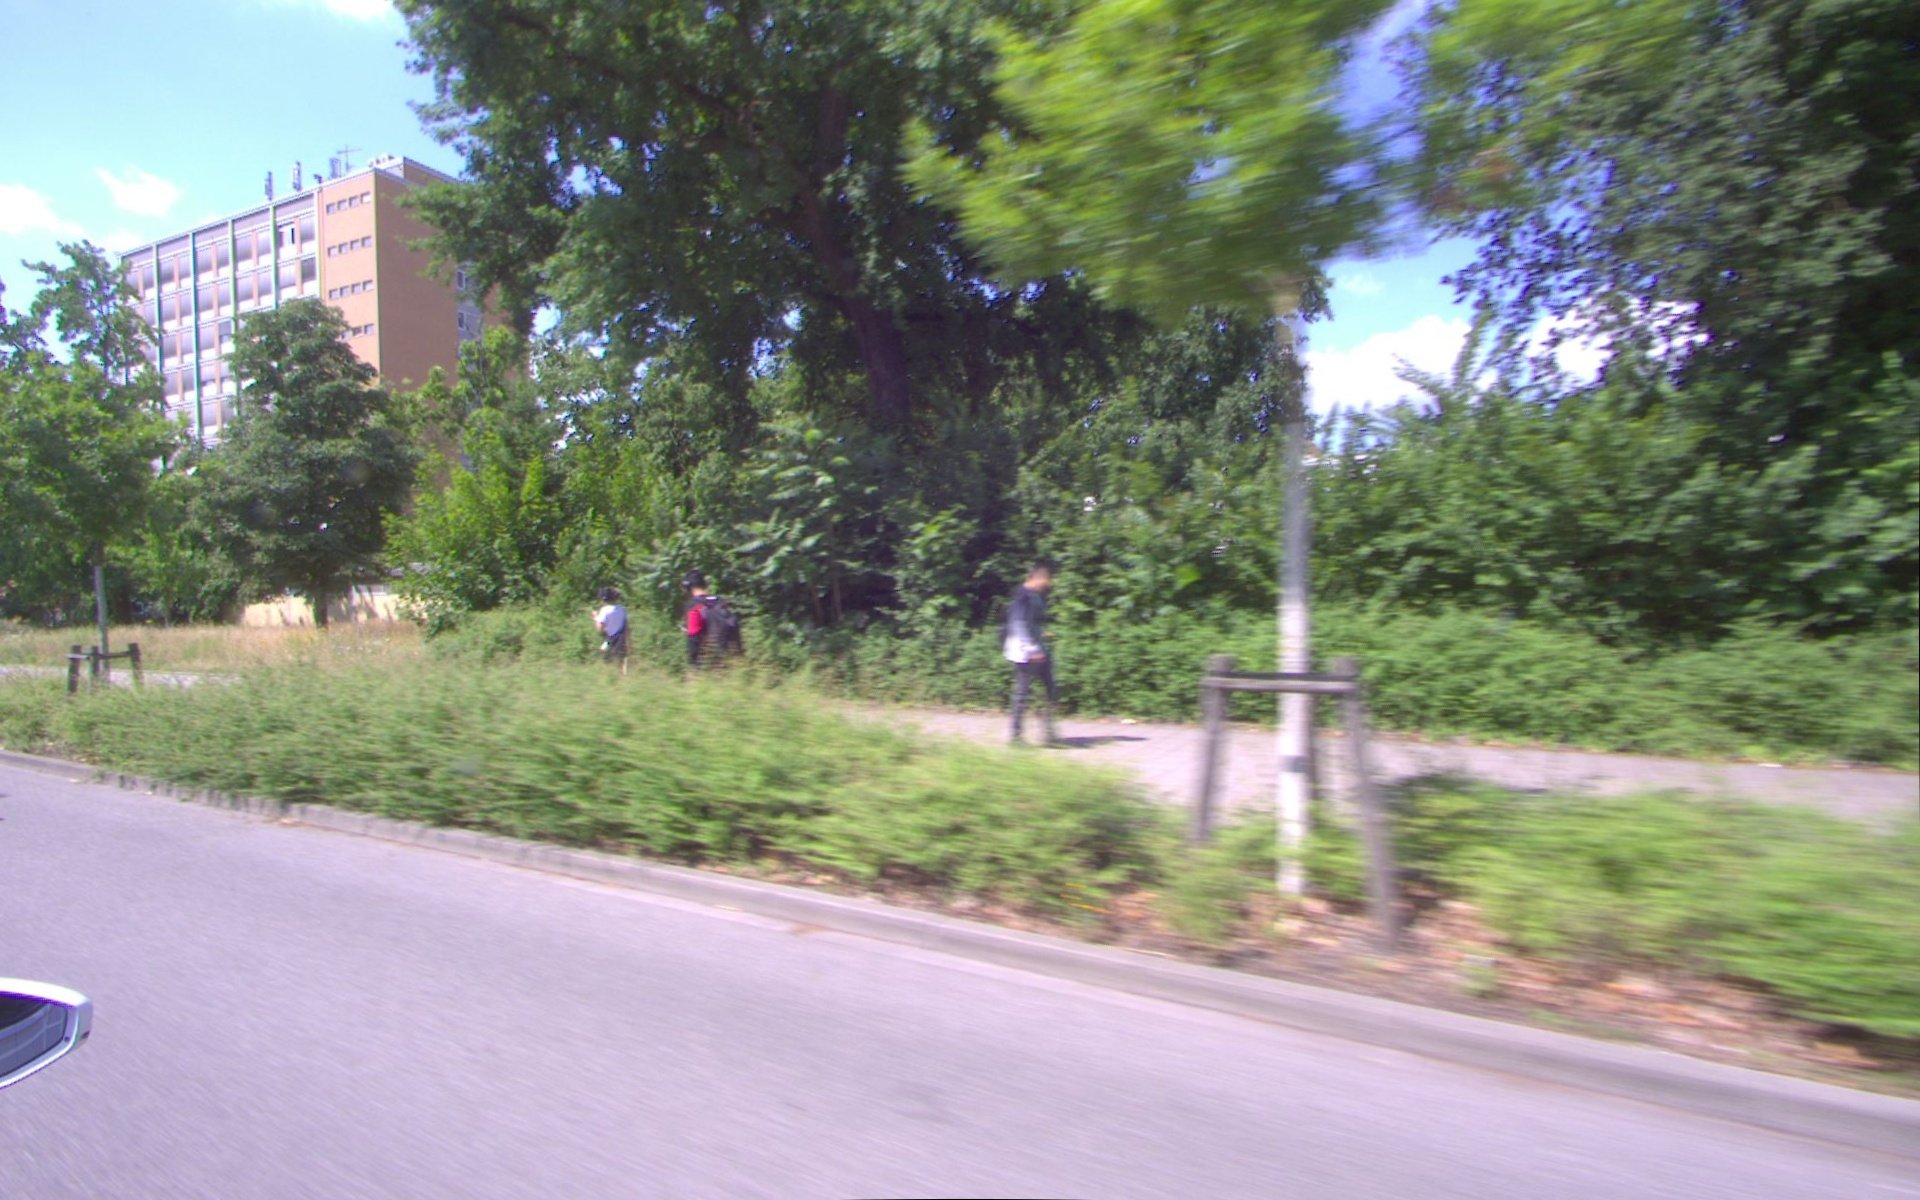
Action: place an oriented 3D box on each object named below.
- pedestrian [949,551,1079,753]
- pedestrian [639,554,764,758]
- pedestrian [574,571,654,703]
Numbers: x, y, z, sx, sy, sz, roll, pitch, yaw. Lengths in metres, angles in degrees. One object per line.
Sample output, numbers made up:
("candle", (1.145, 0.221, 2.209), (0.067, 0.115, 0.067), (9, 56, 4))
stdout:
("pedestrian", (0.507, 0.459, 9.251), (0.916, 1.744, 0.812), (0, 0, 32))
("pedestrian", (-2.335, 0.485, 9.073), (0.825, 1.744, 0.715), (0, 0, 32))
("pedestrian", (-4.746, 0.498, 13.750), (0.736, 1.744, 0.721), (0, 0, 32))
